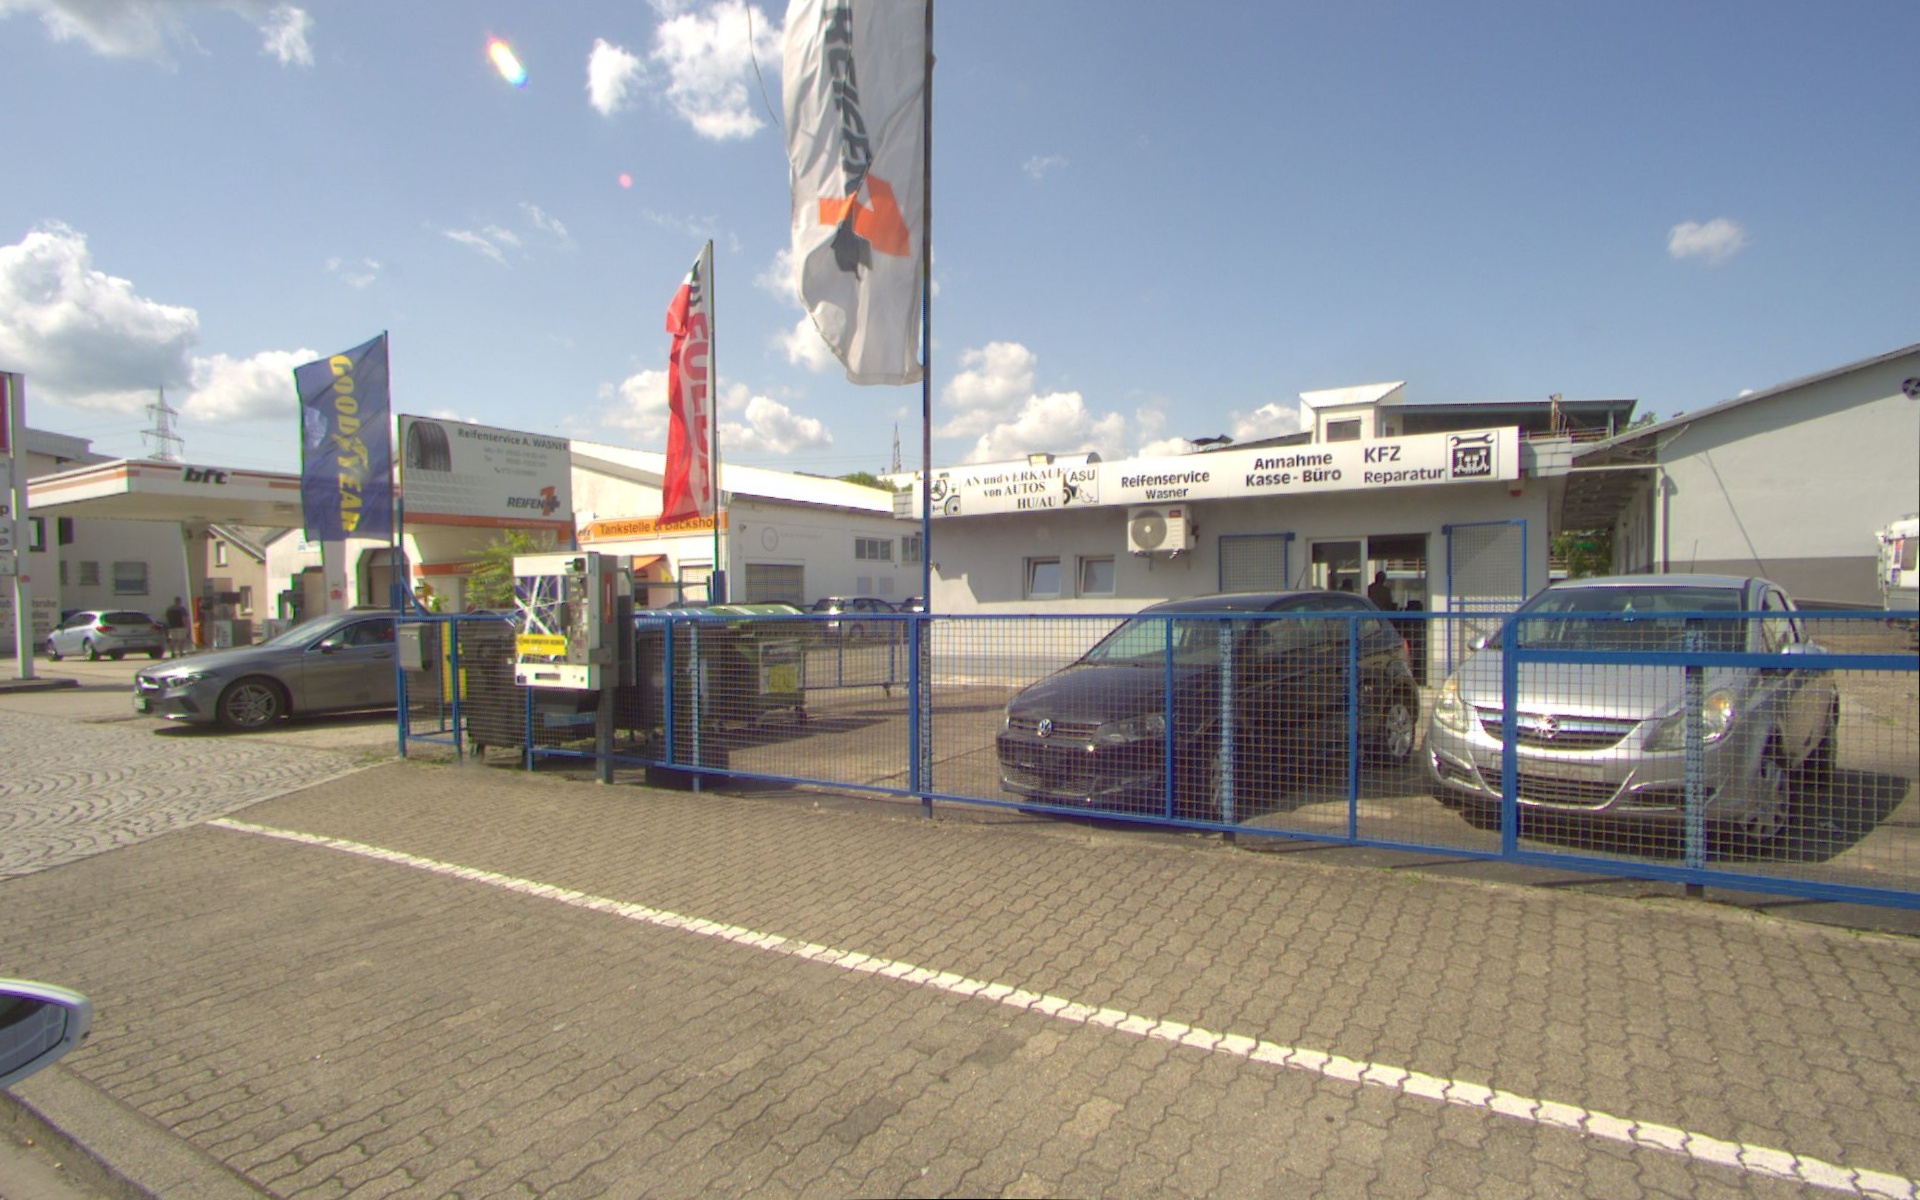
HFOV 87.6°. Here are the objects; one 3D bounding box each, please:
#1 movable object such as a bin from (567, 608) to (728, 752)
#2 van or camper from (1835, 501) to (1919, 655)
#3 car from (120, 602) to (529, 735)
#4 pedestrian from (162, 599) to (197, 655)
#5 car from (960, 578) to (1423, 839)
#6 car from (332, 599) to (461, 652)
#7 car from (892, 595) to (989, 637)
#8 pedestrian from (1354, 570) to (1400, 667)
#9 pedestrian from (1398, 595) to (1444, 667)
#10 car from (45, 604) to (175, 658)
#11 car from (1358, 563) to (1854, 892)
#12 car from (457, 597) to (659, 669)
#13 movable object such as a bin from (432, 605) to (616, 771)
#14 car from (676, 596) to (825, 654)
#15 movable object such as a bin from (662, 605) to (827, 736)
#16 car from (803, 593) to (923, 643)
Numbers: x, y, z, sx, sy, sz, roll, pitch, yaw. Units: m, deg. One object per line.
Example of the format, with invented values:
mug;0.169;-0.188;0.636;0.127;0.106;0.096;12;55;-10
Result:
movable object such as a bin;-3.335;0.802;10.741;1.225;1.415;1.106;0;1;31
van or camper;21.007;-0.454;19.531;5.571;3.005;2.264;0;1;31
car;-8.142;0.766;13.198;1.654;1.434;4.253;0;0;40
pedestrian;-23.783;0.802;30.521;0.698;1.679;0.546;-1;1;-22
car;1.886;0.601;7.490;3.655;1.472;1.625;-1;0;-43
car;-17.317;0.749;30.728;3.777;1.523;1.803;-1;0;31
car;-0.646;0.535;35.739;1.564;1.385;3.860;0;0;33
pedestrian;7.344;0.319;17.648;0.654;1.671;0.563;0;1;34
pedestrian;8.038;0.532;17.441;0.654;1.225;0.563;0;1;34
car;-25.744;0.902;30.312;3.776;1.523;1.803;-1;0;30
car;4.263;0.560;6.383;3.729;1.472;1.757;-1;0;-42
car;-9.173;0.689;23.168;1.564;1.482;4.187;0;0;33
movable object such as a bin;-4.168;0.786;9.611;1.225;1.455;1.106;0;1;31
car;-5.725;0.642;27.823;1.564;1.482;4.187;0;0;33
movable object such as a bin;-2.542;0.782;11.906;1.318;1.414;1.400;0;1;31
car;-3.022;0.527;32.054;1.564;1.482;4.187;0;0;33
